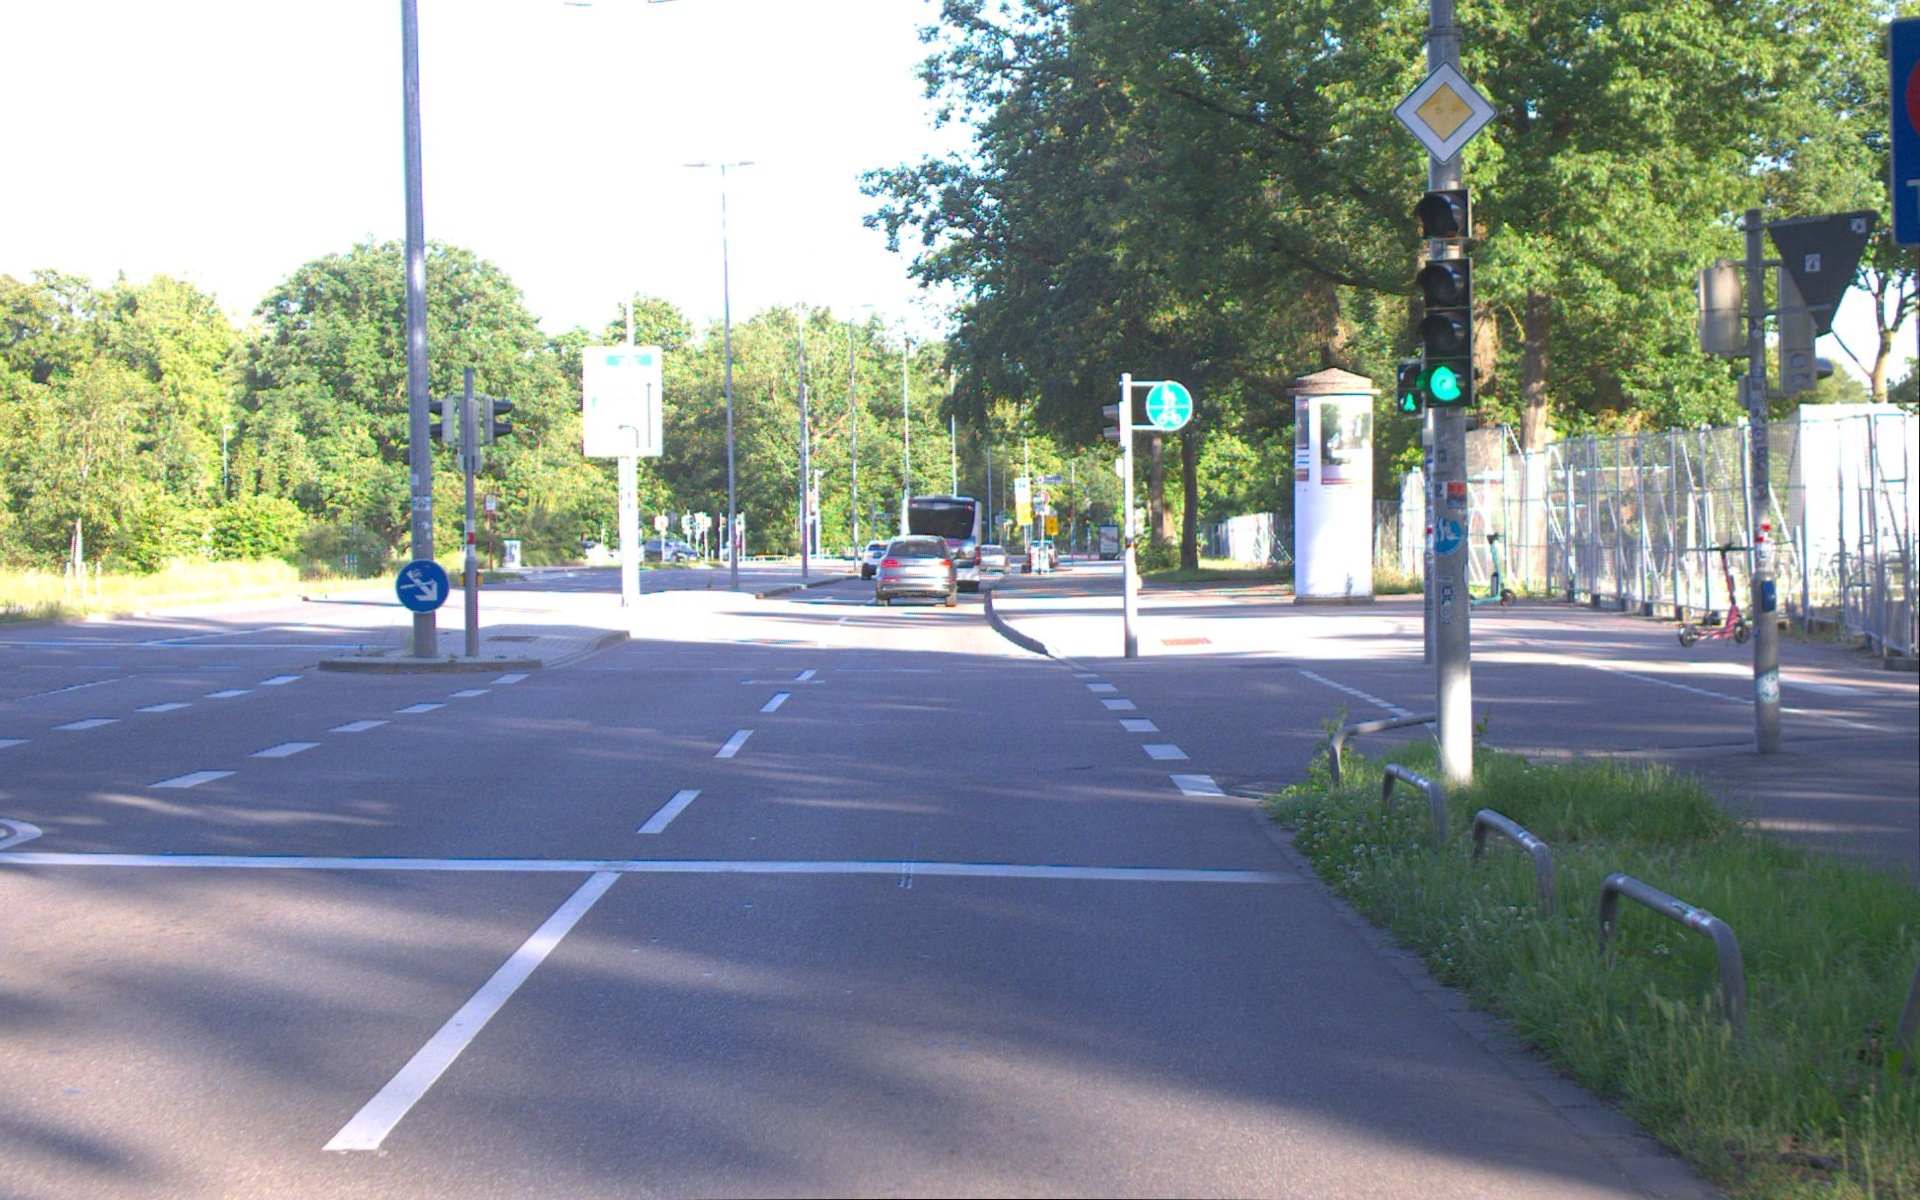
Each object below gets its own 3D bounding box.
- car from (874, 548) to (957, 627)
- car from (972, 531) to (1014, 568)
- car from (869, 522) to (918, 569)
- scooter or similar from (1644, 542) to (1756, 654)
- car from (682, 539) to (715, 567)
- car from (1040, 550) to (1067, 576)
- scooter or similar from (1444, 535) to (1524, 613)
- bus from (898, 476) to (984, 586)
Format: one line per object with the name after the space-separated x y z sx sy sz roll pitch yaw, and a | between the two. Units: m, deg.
-1.051 -0.316 80.795 1.880 1.759 4.000 -1 1 -1 | car
1.622 -2.456 166.708 1.863 1.678 3.772 -1 1 3 | car
-2.576 -2.135 133.242 1.880 1.759 4.000 -1 1 -1 | car
8.762 -0.034 40.688 1.358 1.283 0.603 -1 3 -43 | scooter or similar
-16.723 -3.014 219.613 1.863 1.678 3.773 -1 1 -1 | car
5.871 -2.306 215.905 1.592 1.600 3.584 1 0 0 | car
8.516 -0.426 55.826 0.569 1.252 1.597 0 1 38 | scooter or similar
-0.657 -2.222 109.684 2.605 3.357 7.976 0 1 -1 | bus
